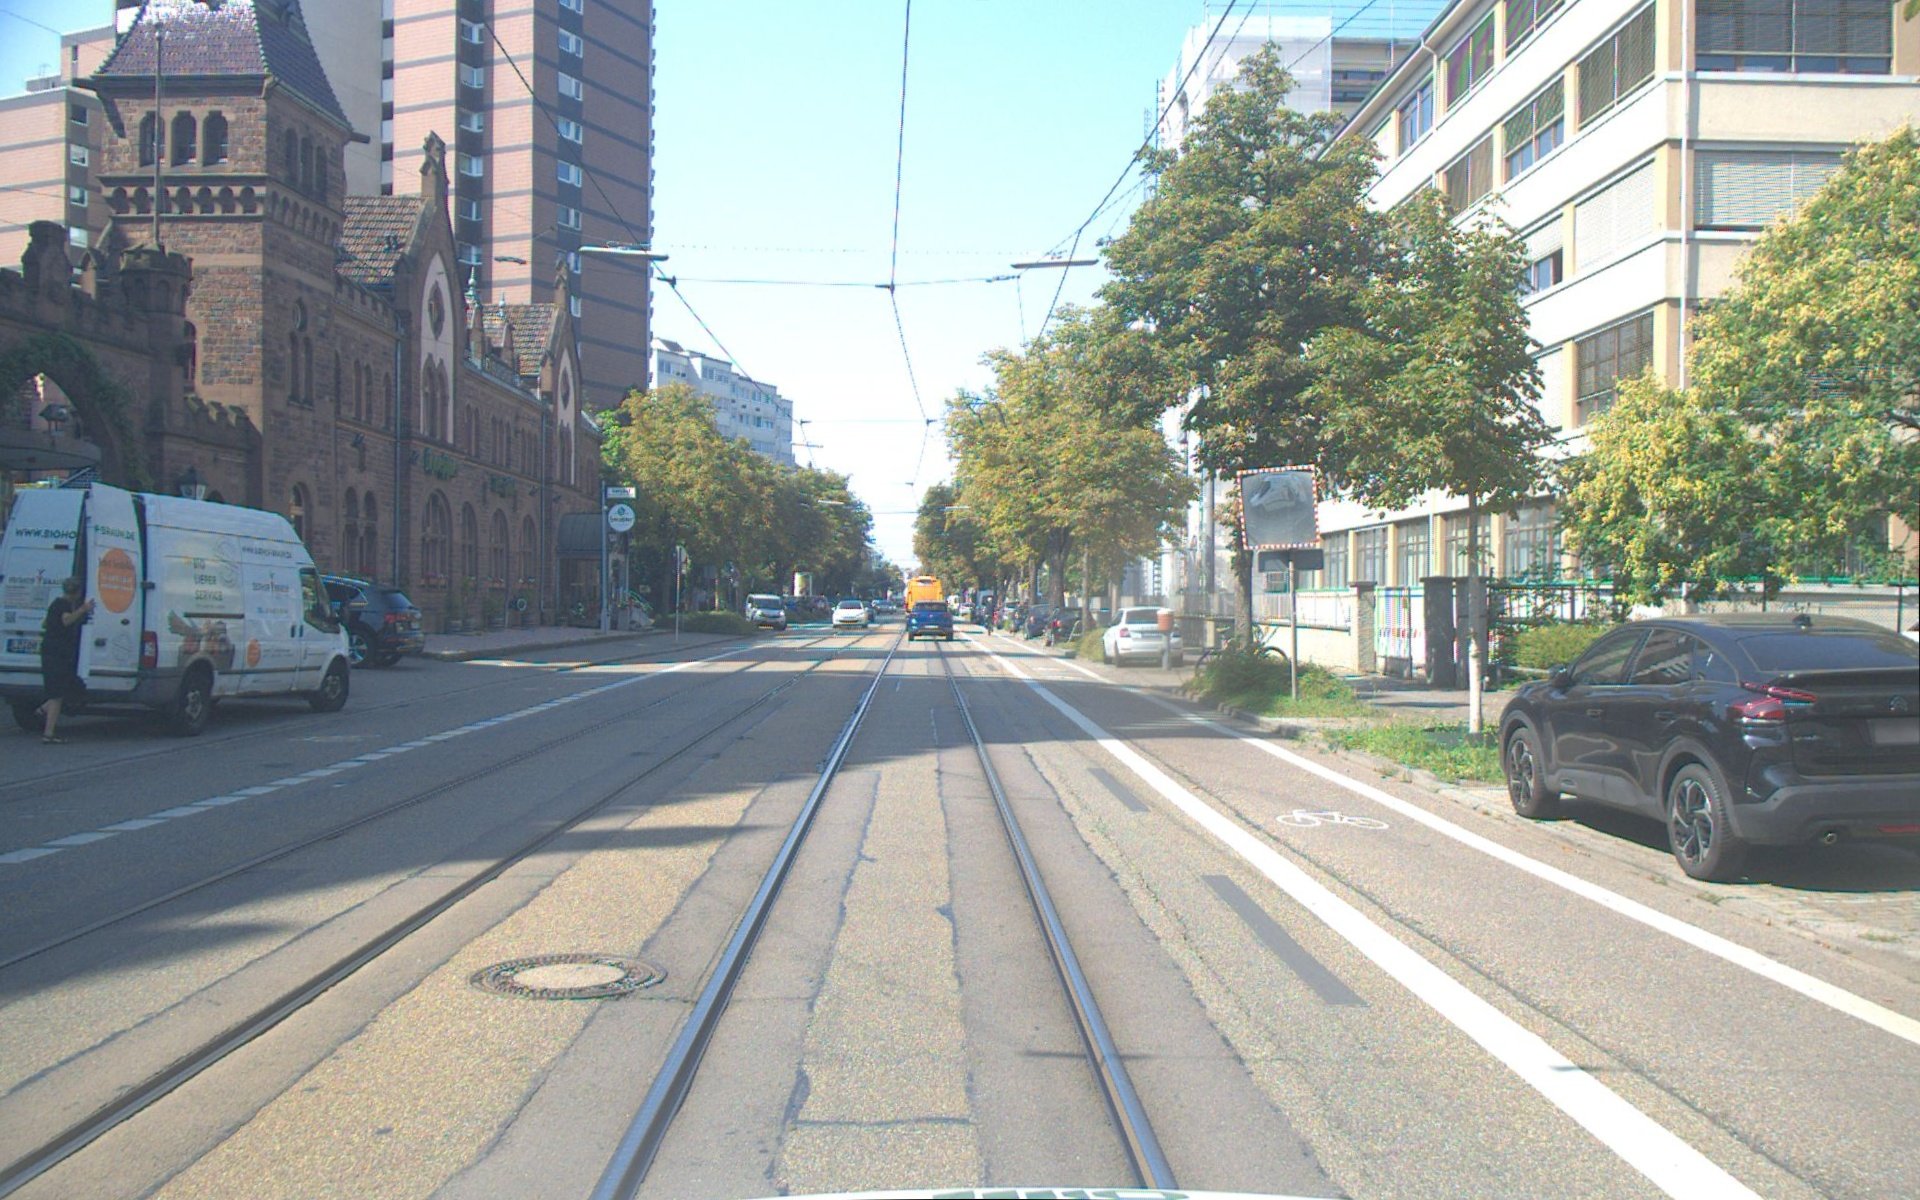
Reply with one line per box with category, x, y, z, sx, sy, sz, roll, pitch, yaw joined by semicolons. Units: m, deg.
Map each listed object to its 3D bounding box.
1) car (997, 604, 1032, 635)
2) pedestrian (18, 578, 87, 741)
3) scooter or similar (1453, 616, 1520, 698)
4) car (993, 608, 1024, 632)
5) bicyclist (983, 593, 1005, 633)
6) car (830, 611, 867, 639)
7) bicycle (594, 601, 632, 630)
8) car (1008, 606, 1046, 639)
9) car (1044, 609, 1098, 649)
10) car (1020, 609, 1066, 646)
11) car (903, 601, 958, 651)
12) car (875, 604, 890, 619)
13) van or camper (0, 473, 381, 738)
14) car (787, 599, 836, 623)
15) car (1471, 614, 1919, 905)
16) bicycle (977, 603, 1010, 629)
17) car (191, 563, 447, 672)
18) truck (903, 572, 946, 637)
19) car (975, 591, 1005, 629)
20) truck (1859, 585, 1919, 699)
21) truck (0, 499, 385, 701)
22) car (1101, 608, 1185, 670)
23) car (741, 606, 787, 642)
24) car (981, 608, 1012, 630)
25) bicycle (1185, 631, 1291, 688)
car;3.112;1.119;95.268;1.705;1.697;4.359;1;0;-2
pedestrian;-9.257;0.598;16.883;0.543;1.627;0.495;1;-1;-24
scooter or similar;8.644;0.911;27.213;0.544;1.281;1.818;1;0;1
car;3.059;1.250;105.648;1.705;1.488;3.682;1;0;-2
bicyclist;1.606;0.624;78.345;1.011;1.844;1.016;1;0;-2
car;-6.185;1.375;92.165;1.809;1.518;4.866;-1;0;-1
bicycle;-14.233;0.634;67.882;1.423;1.112;0.399;4;-1;-6
car;3.423;1.141;85.181;1.601;1.612;4.186;1;0;-2
car;4.041;1.043;60.547;1.625;1.432;4.216;0;0;-1
car;3.597;1.188;72.086;1.707;1.583;4.216;0;0;-1
car;-1.182;0.988;65.631;2.092;1.891;5.566;0;0;-1
car;-9.147;1.376;194.901;1.744;1.713;4.345;1;0;-2
van or camper;-9.187;0.062;20.213;2.069;2.722;5.954;1;0;0
car;-12.989;0.973;144.567;3.970;2.049;1.826;2;-1;-45
car;5.158;0.881;11.310;1.721;1.542;4.607;0;0;-3
bicycle;1.568;0.743;78.351;1.373;1.154;3.999;1;0;-1
car;-12.308;0.327;31.952;4.052;1.774;2.000;4;0;-1
truck;-1.804;0.230;84.716;2.092;3.179;6.083;0;0;-1
car;2.276;0.761;126.365;1.953;2.804;5.758;1;0;-2
truck;22.544;0.918;35.364;5.394;2.367;2.298;1;0;0
truck;-12.216;-0.078;24.979;6.189;2.582;2.132;4;1;3
car;4.615;0.969;42.180;1.625;1.507;4.216;0;0;-1
car;-10.516;1.287;88.567;1.720;1.828;3.979;1;0;-18
car;2.515;1.345;115.773;1.870;1.457;4.290;1;0;-2
bicycle;4.945;1.057;29.428;1.775;0.975;0.558;1;0;-2
